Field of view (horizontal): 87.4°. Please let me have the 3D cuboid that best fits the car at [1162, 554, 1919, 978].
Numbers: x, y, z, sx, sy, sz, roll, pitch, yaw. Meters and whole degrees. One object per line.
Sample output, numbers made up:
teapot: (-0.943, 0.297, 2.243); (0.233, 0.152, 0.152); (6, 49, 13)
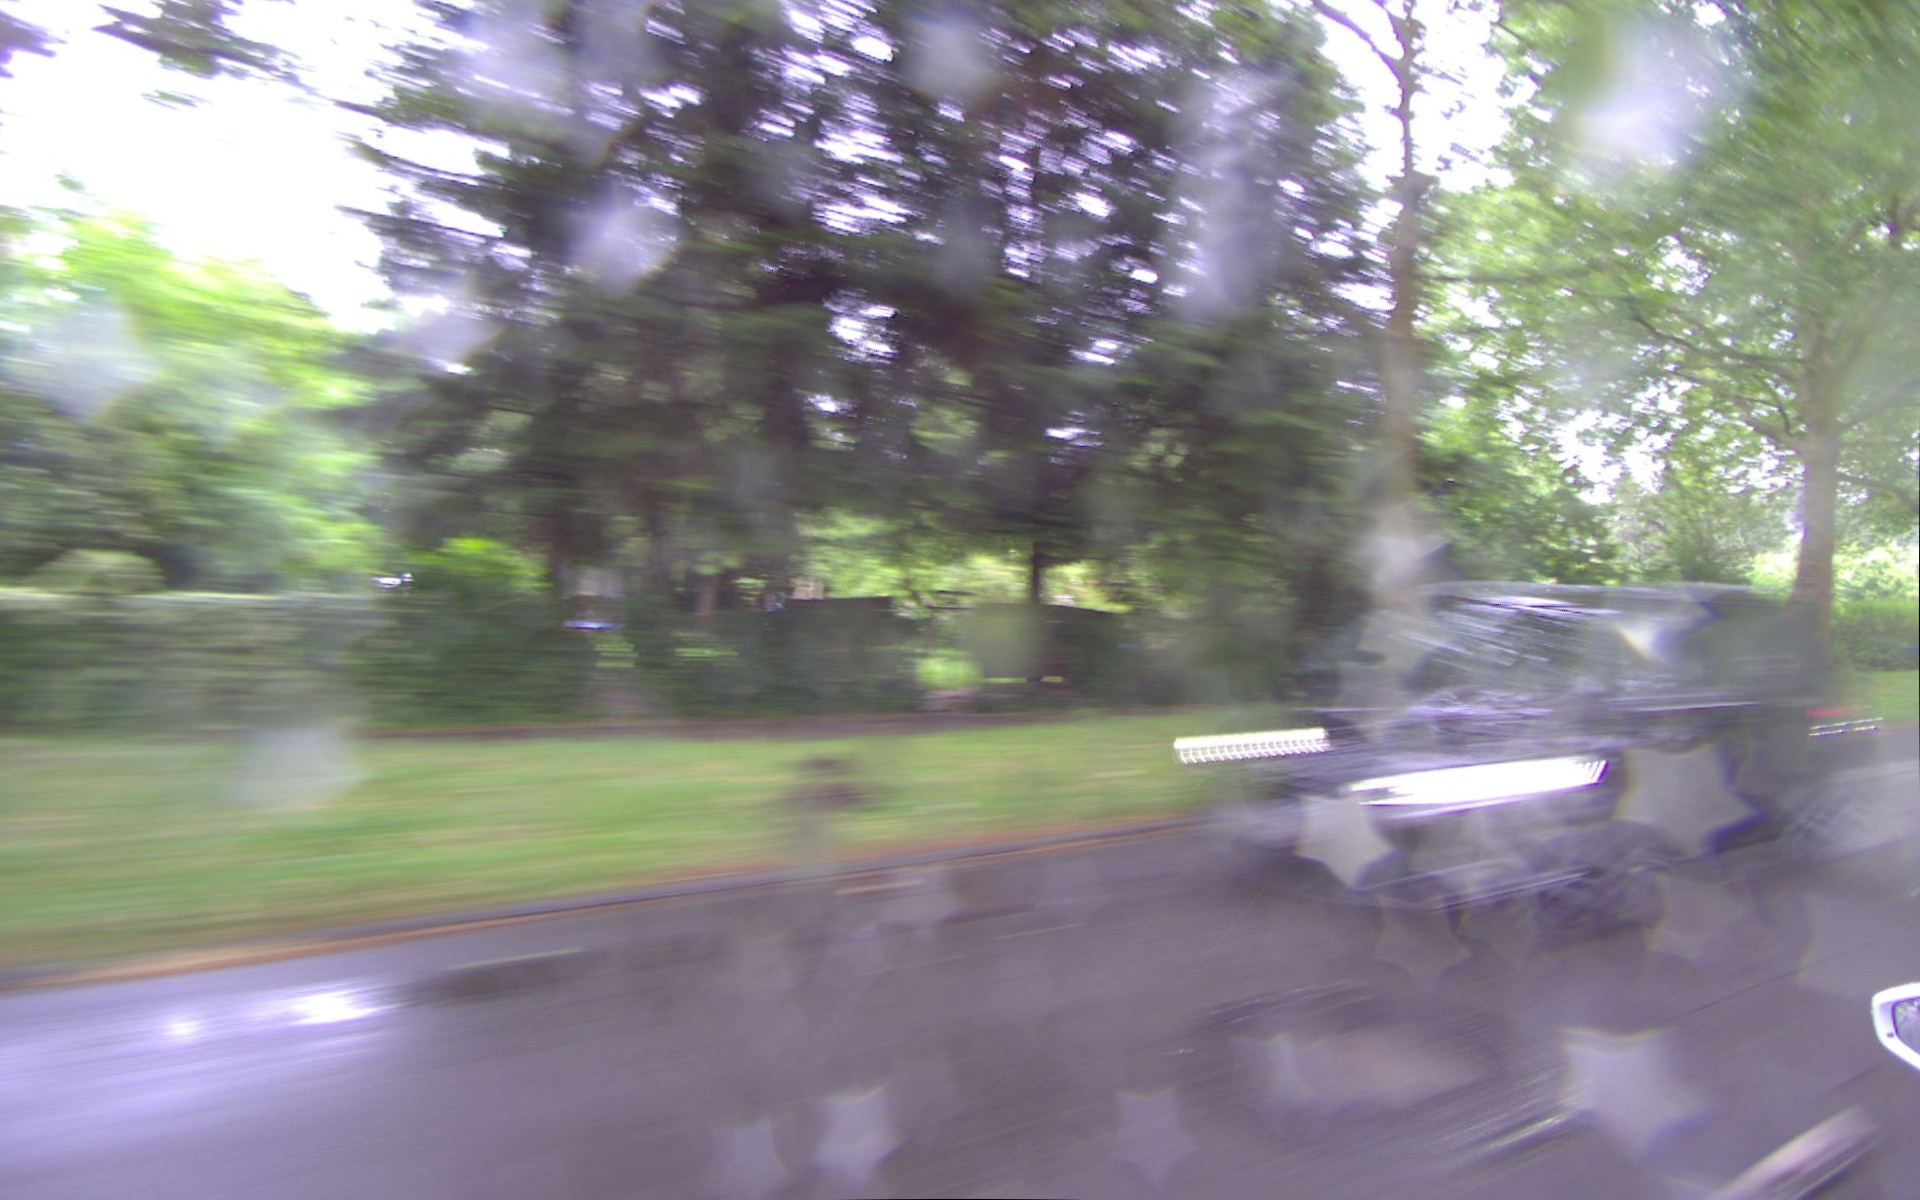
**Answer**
car: (3.623, 0.686, 5.933); (4.716, 1.676, 1.809); (2, 1, -30)
